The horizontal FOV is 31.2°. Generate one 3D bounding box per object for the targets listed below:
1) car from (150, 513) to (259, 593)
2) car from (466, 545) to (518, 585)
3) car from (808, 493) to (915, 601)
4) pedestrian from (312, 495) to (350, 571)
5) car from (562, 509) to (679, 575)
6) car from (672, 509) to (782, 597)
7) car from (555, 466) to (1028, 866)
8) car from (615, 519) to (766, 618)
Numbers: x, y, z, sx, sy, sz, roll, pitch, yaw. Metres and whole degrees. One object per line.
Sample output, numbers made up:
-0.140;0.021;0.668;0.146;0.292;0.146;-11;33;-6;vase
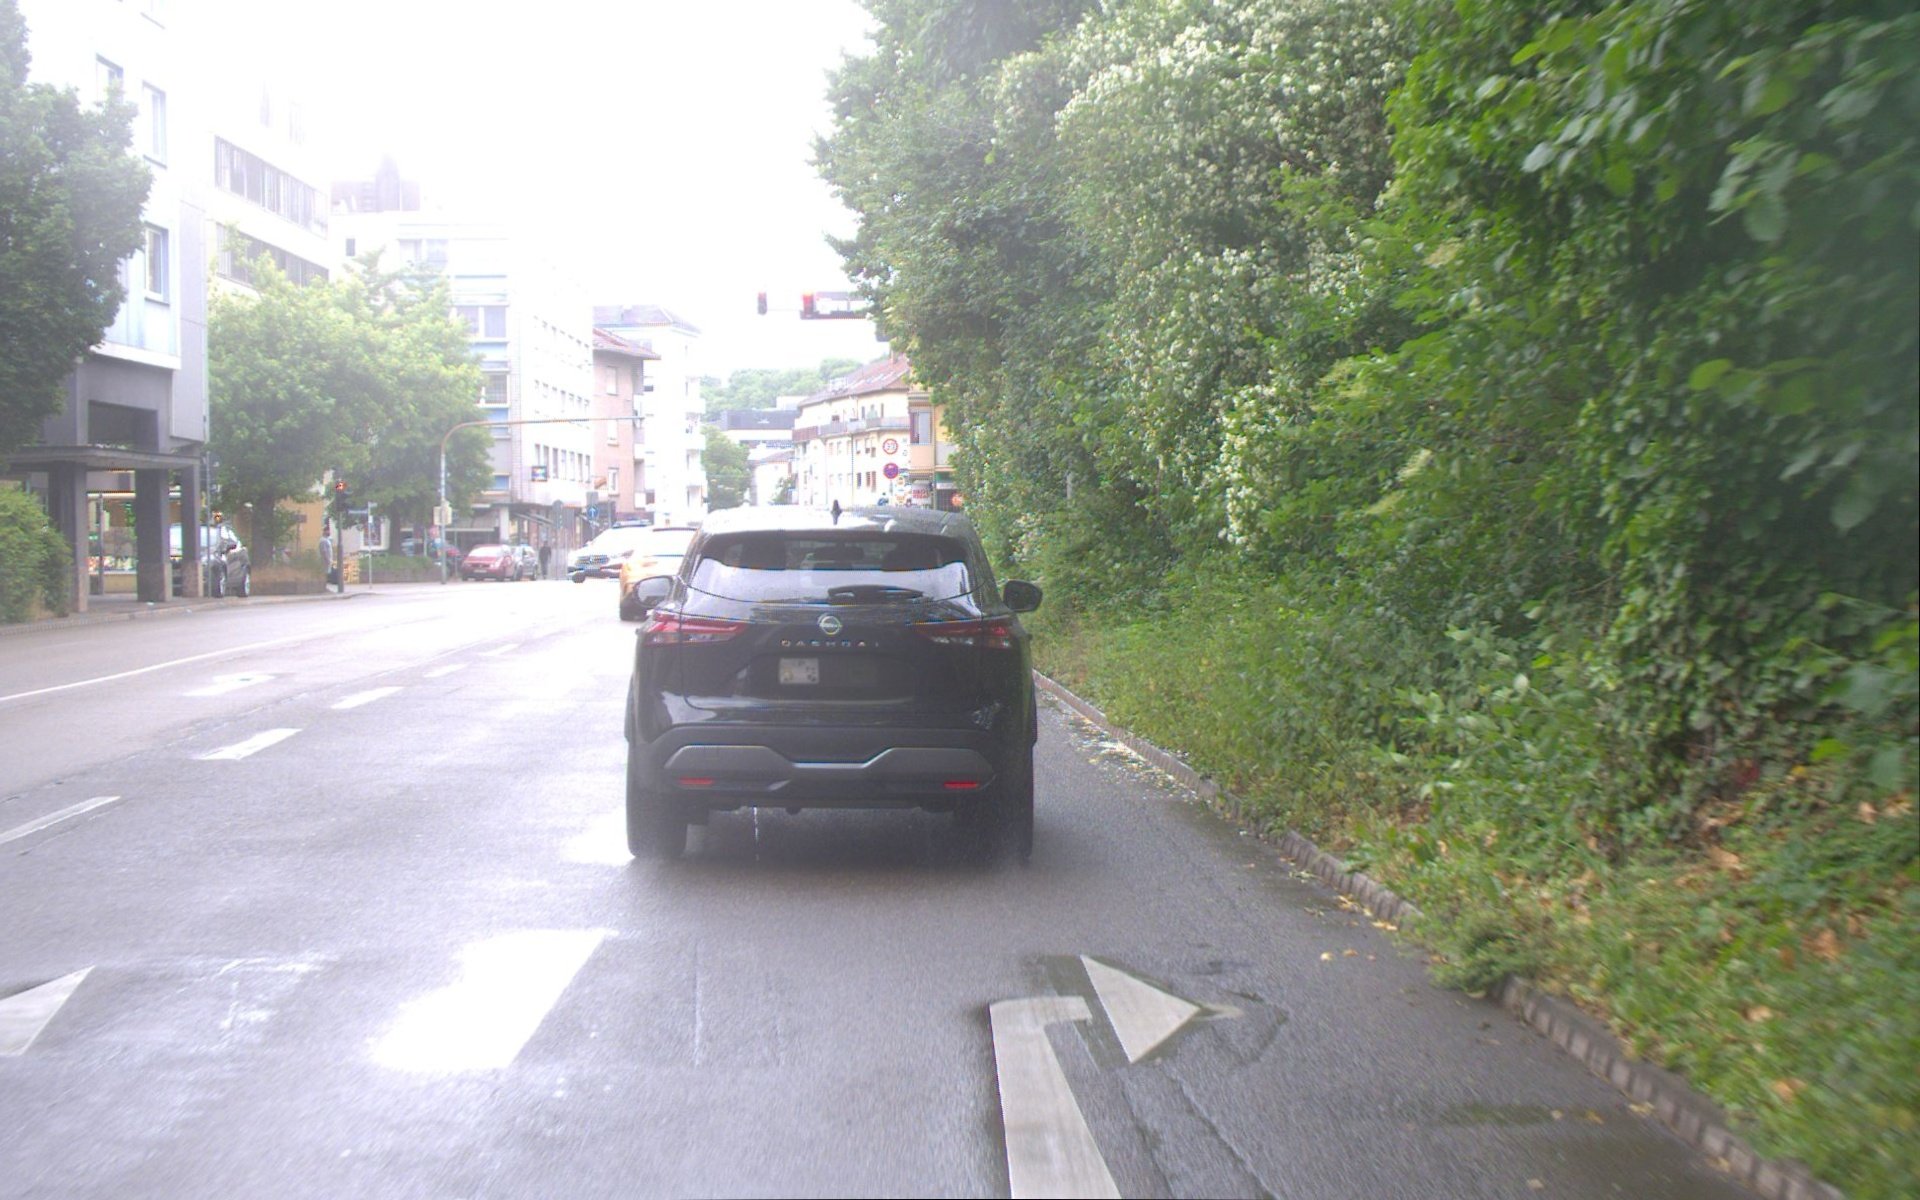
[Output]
-16.714;-1.059;76.193;1.539;1.700;4.288;0;1;-1;car
-18.266;-1.383;134.186;1.672;1.473;3.608;-2;1;-3;car
-1.936;-1.053;66.916;1.993;2.007;4.001;-1;1;-2;car
-16.706;-1.789;91.328;0.940;2.007;0.887;-1;1;-10;pedestrian
-9.280;-1.600;94.314;1.994;1.744;4.806;-1;1;9;car
-4.095;-0.845;60.929;1.743;1.482;4.162;-1;1;-2;car
-0.786;0.224;16.432;1.959;1.647;4.001;-1;1;-2;car
-4.192;-0.528;54.120;2.066;1.459;4.587;0;1;-1;car
